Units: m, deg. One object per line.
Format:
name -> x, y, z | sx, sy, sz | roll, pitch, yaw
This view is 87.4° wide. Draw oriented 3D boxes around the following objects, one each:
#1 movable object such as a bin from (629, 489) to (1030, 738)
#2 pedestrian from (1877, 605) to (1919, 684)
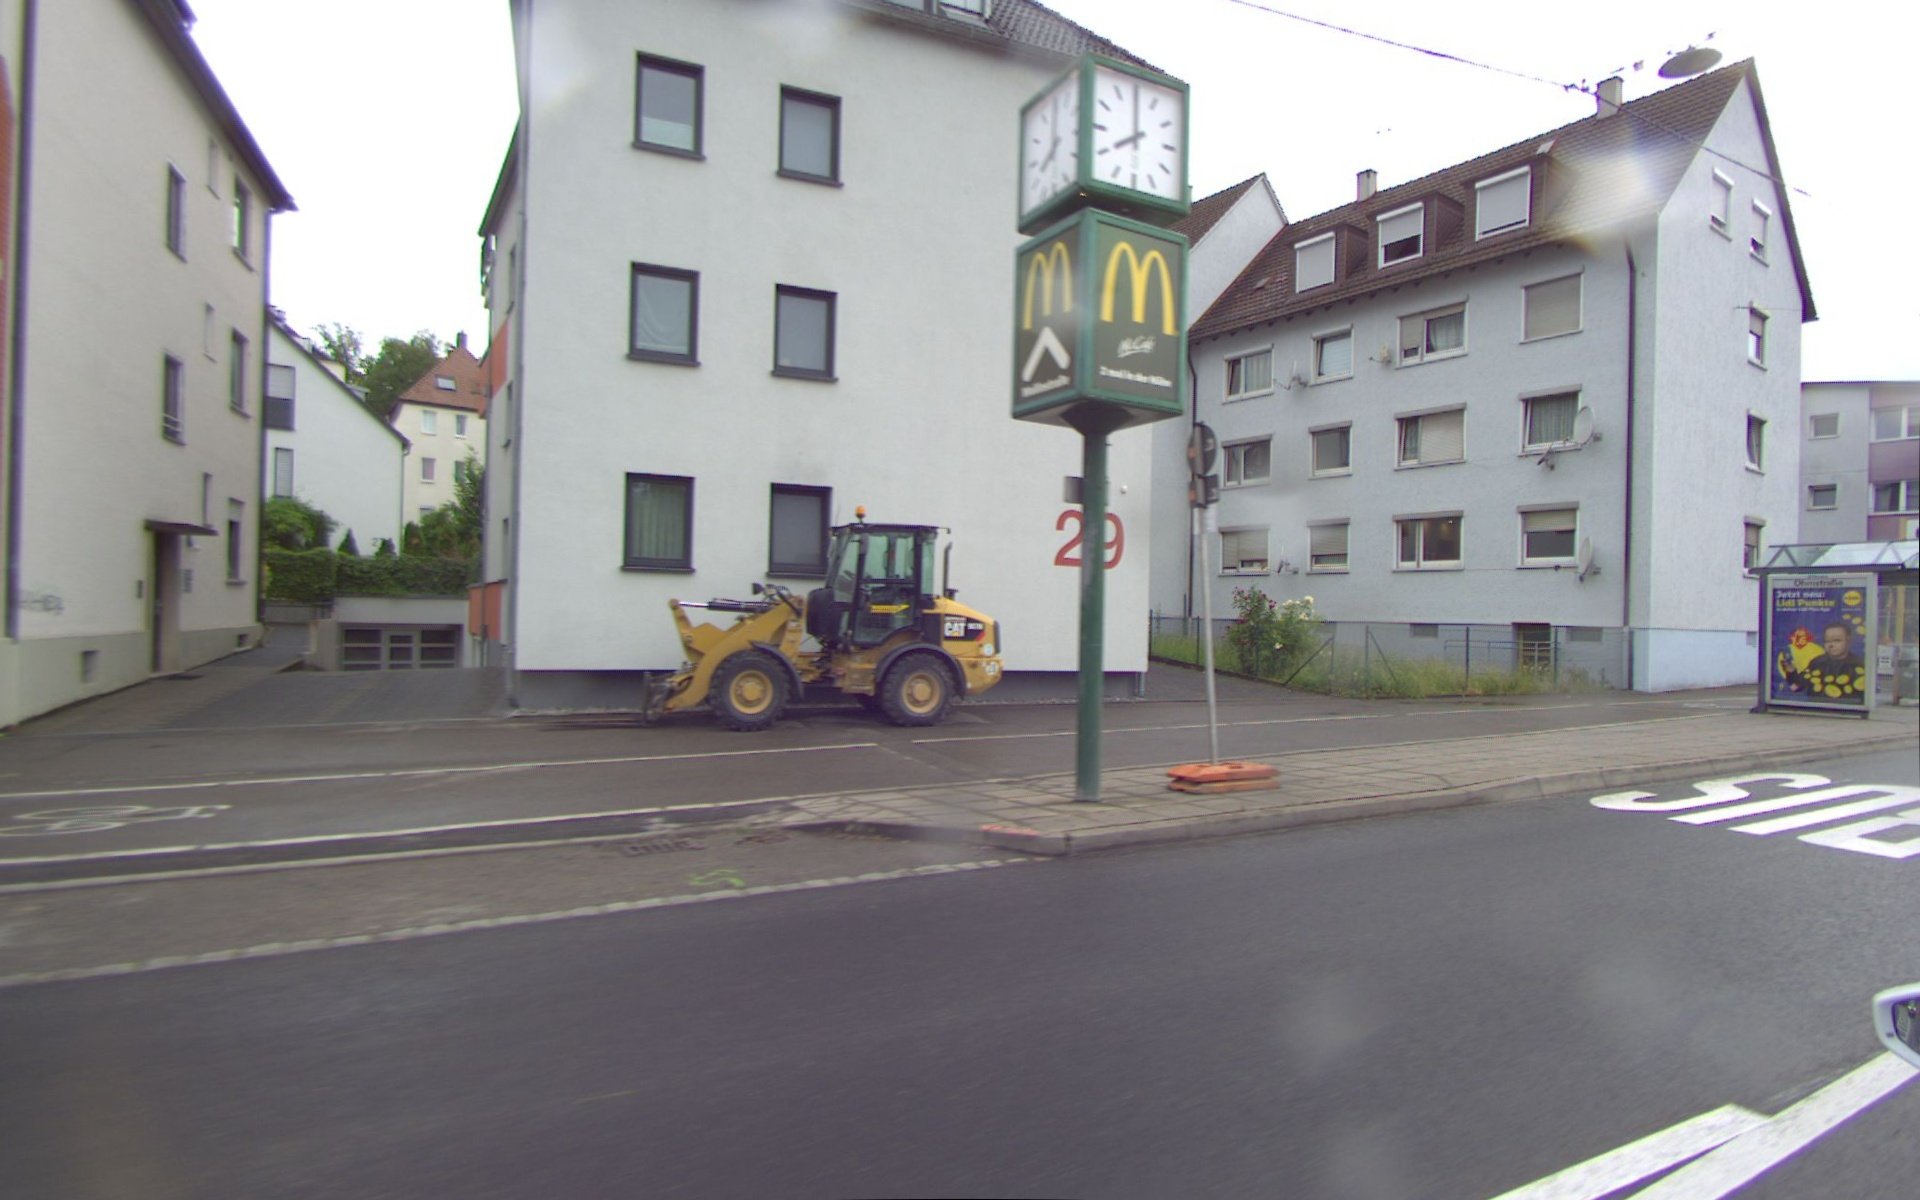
movable object such as a bin -> -1.758, 0.163, 13.329 | 4.904, 2.845, 2.125 | 1, 2, -21
pedestrian -> 23.165, 1.074, 24.587 | 1.033, 1.907, 0.856 | 1, -1, -34
